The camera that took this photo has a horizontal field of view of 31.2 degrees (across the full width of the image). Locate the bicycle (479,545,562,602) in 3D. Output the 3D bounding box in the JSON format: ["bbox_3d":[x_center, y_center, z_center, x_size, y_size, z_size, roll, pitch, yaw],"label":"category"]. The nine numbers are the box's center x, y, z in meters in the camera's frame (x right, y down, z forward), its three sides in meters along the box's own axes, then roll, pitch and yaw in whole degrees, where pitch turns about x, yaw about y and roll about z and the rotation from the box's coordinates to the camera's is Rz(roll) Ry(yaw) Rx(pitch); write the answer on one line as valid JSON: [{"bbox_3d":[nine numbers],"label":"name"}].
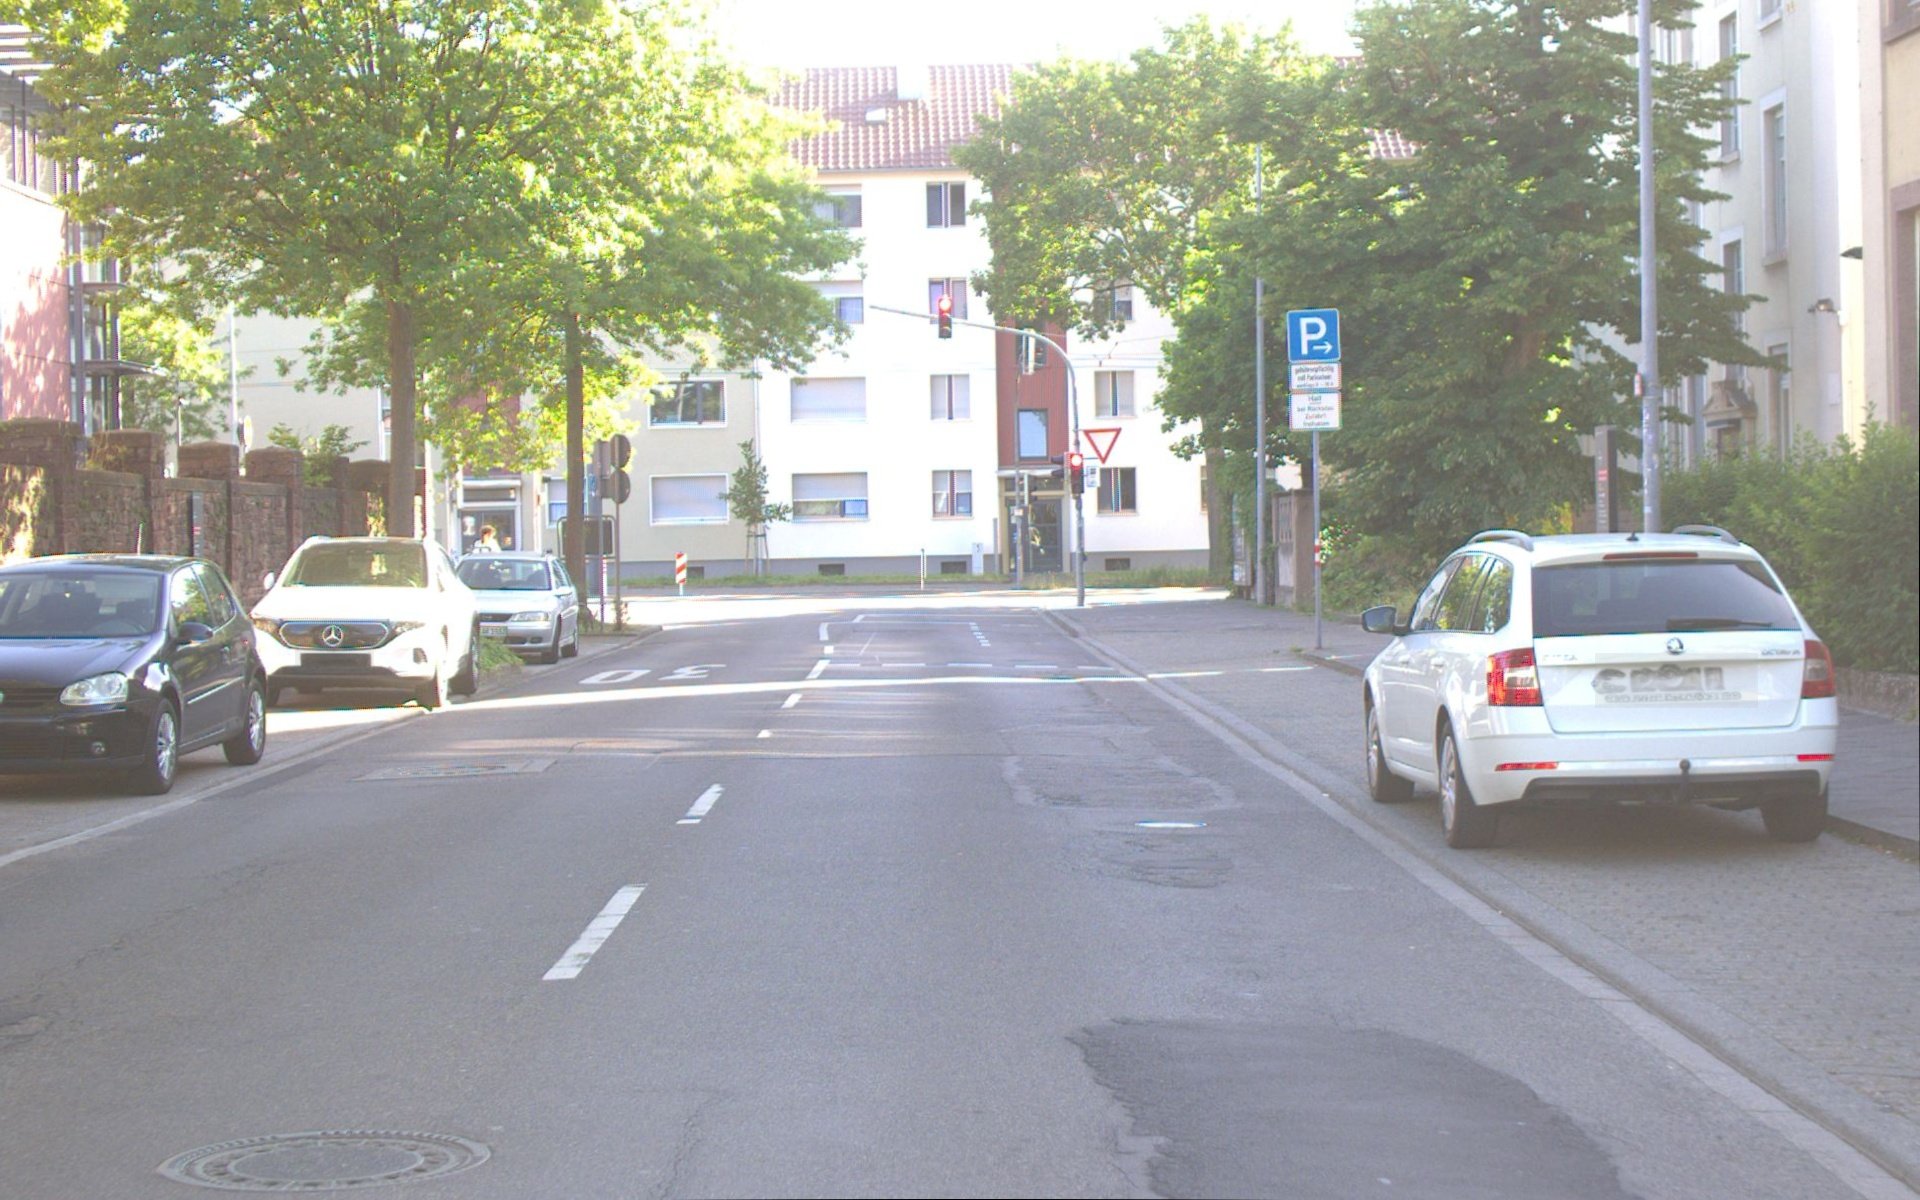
[{"bbox_3d":[-8.450,-0.522,66.120,1.684,1.076,0.351,-1,1,-42],"label":"bicycle"}]

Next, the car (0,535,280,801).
[{"bbox_3d":[-5.804,0.374,22.734,1.737,1.587,4.107,-1,1,1],"label":"car"}]

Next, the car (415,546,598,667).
[{"bbox_3d":[-5.940,0.048,45.481,1.726,1.470,4.478,1,1,1],"label":"car"}]

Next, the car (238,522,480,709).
[{"bbox_3d":[-5.790,0.095,33.552,1.720,1.678,4.351,-1,1,-2],"label":"car"}]

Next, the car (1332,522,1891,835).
[{"bbox_3d":[3.089,0.301,17.255,1.832,1.318,4.496,-2,1,-1],"label":"car"}]
